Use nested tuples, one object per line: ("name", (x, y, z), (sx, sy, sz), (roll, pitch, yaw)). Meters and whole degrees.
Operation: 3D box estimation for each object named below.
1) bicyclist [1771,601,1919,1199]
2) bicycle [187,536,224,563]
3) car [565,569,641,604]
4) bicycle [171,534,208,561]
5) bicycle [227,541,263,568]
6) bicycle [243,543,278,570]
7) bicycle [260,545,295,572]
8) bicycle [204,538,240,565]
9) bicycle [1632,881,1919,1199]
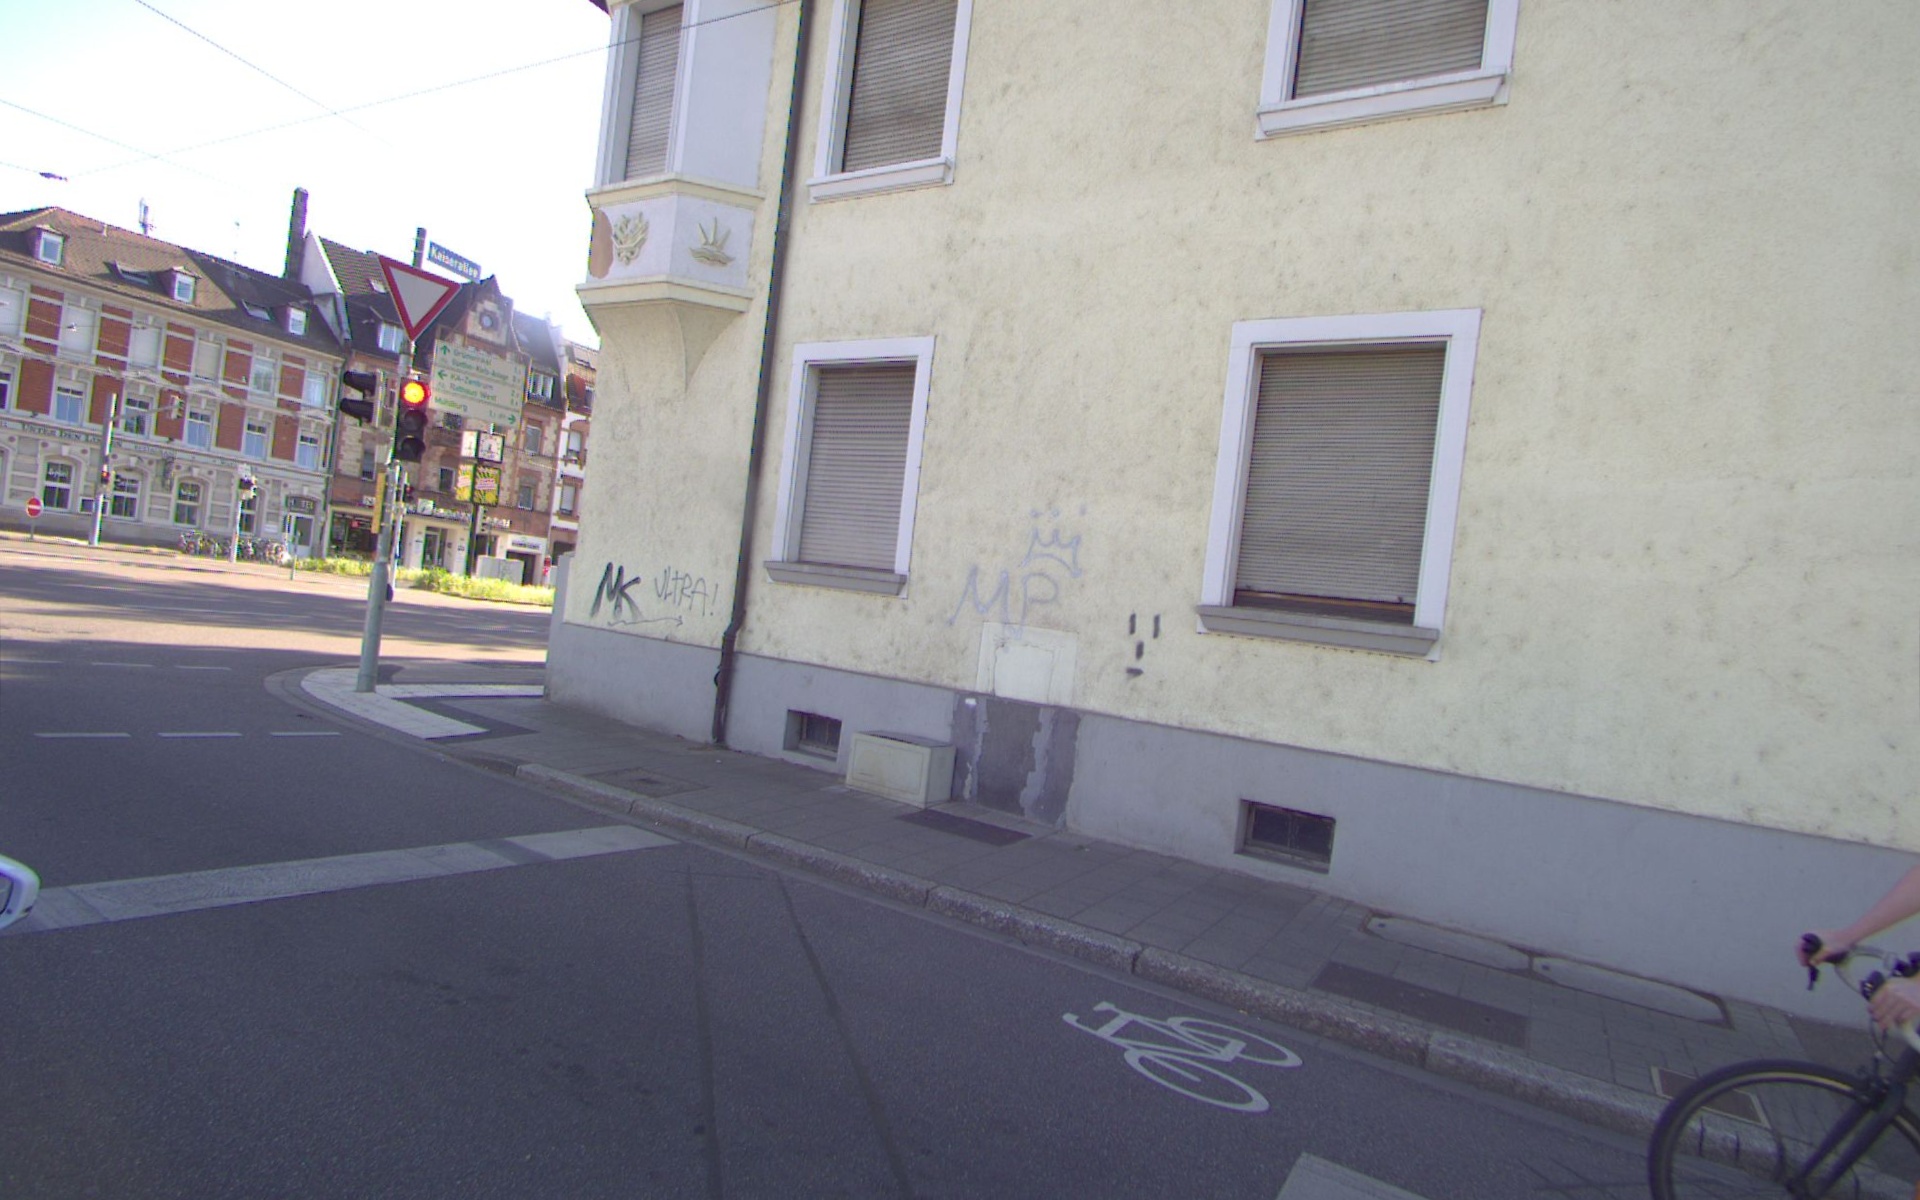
("bicyclist", (2.670, 0.947, 2.305), (1.066, 1.751, 0.561), (6, -1, 32))
("bicycle", (-34.639, -2.321, 46.190), (1.614, 1.064, 0.606), (7, 0, 27))
("car", (-23.118, -0.852, 65.304), (1.966, 1.674, 4.378), (7, -1, 29))
("bicycle", (-34.939, -2.384, 45.608), (1.614, 1.064, 0.606), (7, 0, 27))
("bicycle", (-33.643, -2.144, 47.336), (1.614, 1.064, 0.606), (7, 0, 27))
("bicycle", (-33.349, -2.080, 47.946), (1.614, 1.064, 0.606), (7, 0, 27))
("bicycle", (-32.975, -2.006, 48.584), (1.614, 1.064, 0.606), (7, 0, 27))
("bicycle", (-34.309, -2.255, 46.766), (1.614, 1.064, 0.606), (7, 0, 27))
("bicycle", (2.637, 1.404, 2.294), (1.729, 1.029, 0.532), (7, 0, 32))
